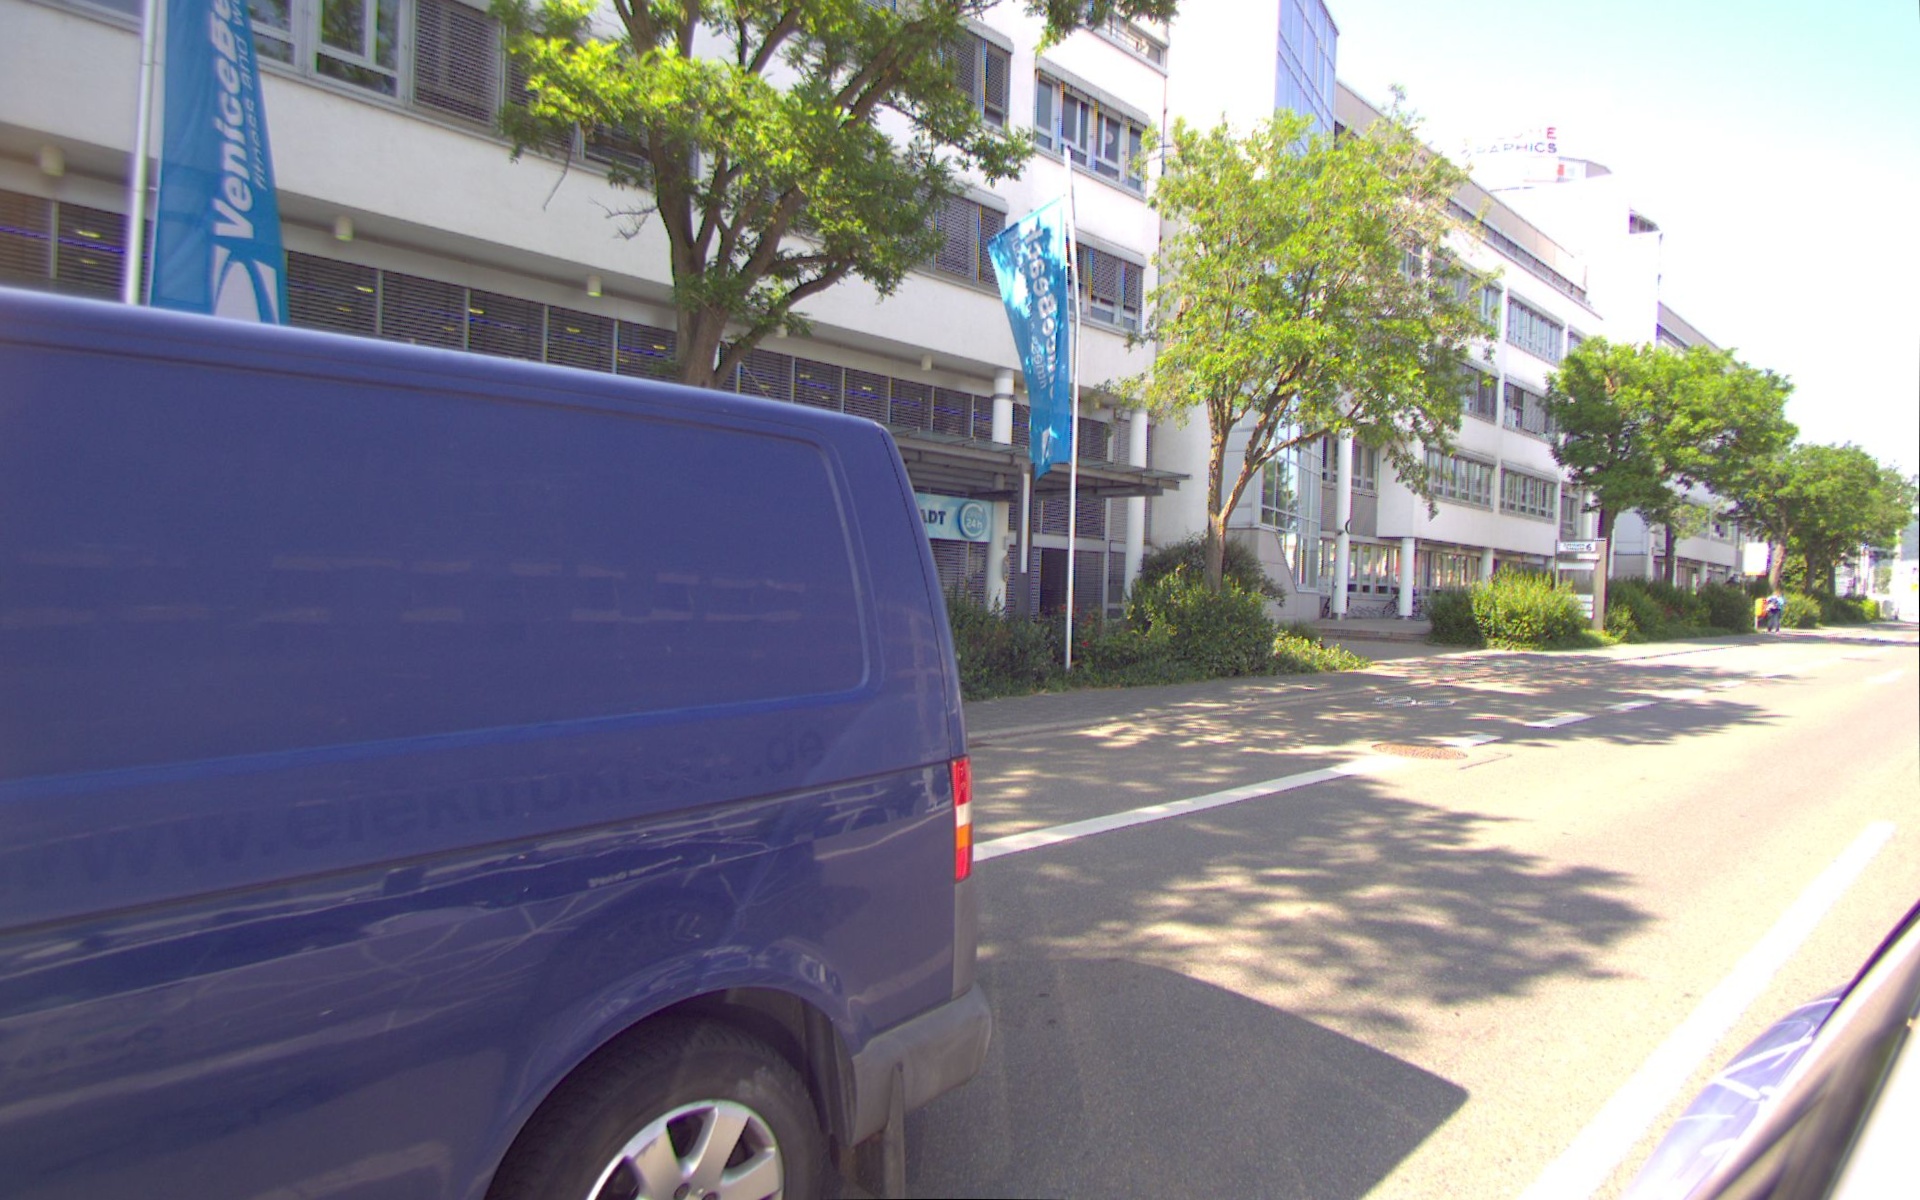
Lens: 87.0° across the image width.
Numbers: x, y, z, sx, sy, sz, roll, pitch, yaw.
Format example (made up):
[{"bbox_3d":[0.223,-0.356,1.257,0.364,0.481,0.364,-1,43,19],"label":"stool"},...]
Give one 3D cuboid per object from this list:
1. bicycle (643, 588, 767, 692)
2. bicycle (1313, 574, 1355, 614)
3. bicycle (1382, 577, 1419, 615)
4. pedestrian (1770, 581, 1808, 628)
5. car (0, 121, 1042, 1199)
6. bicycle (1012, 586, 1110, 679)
[{"bbox_3d":[-3.640,0.538,14.376,1.868,1.346,0.501,2,1,30],"label":"bicycle"},{"bbox_3d":[12.896,-0.210,34.890,1.852,1.371,0.506,0,1,-41],"label":"bicycle"},{"bbox_3d":[16.337,-0.141,37.513,1.852,1.371,0.506,0,1,-41],"label":"bicycle"},{"bbox_3d":[35.183,0.172,42.947,1.267,1.909,0.942,0,4,-41],"label":"pedestrian"},{"bbox_3d":[-2.275,0.409,1.507,4.806,1.972,1.997,-1,2,-41],"label":"car"},{"bbox_3d":[1.592,0.480,15.718,0.504,1.346,1.856,2,1,41],"label":"bicycle"}]
